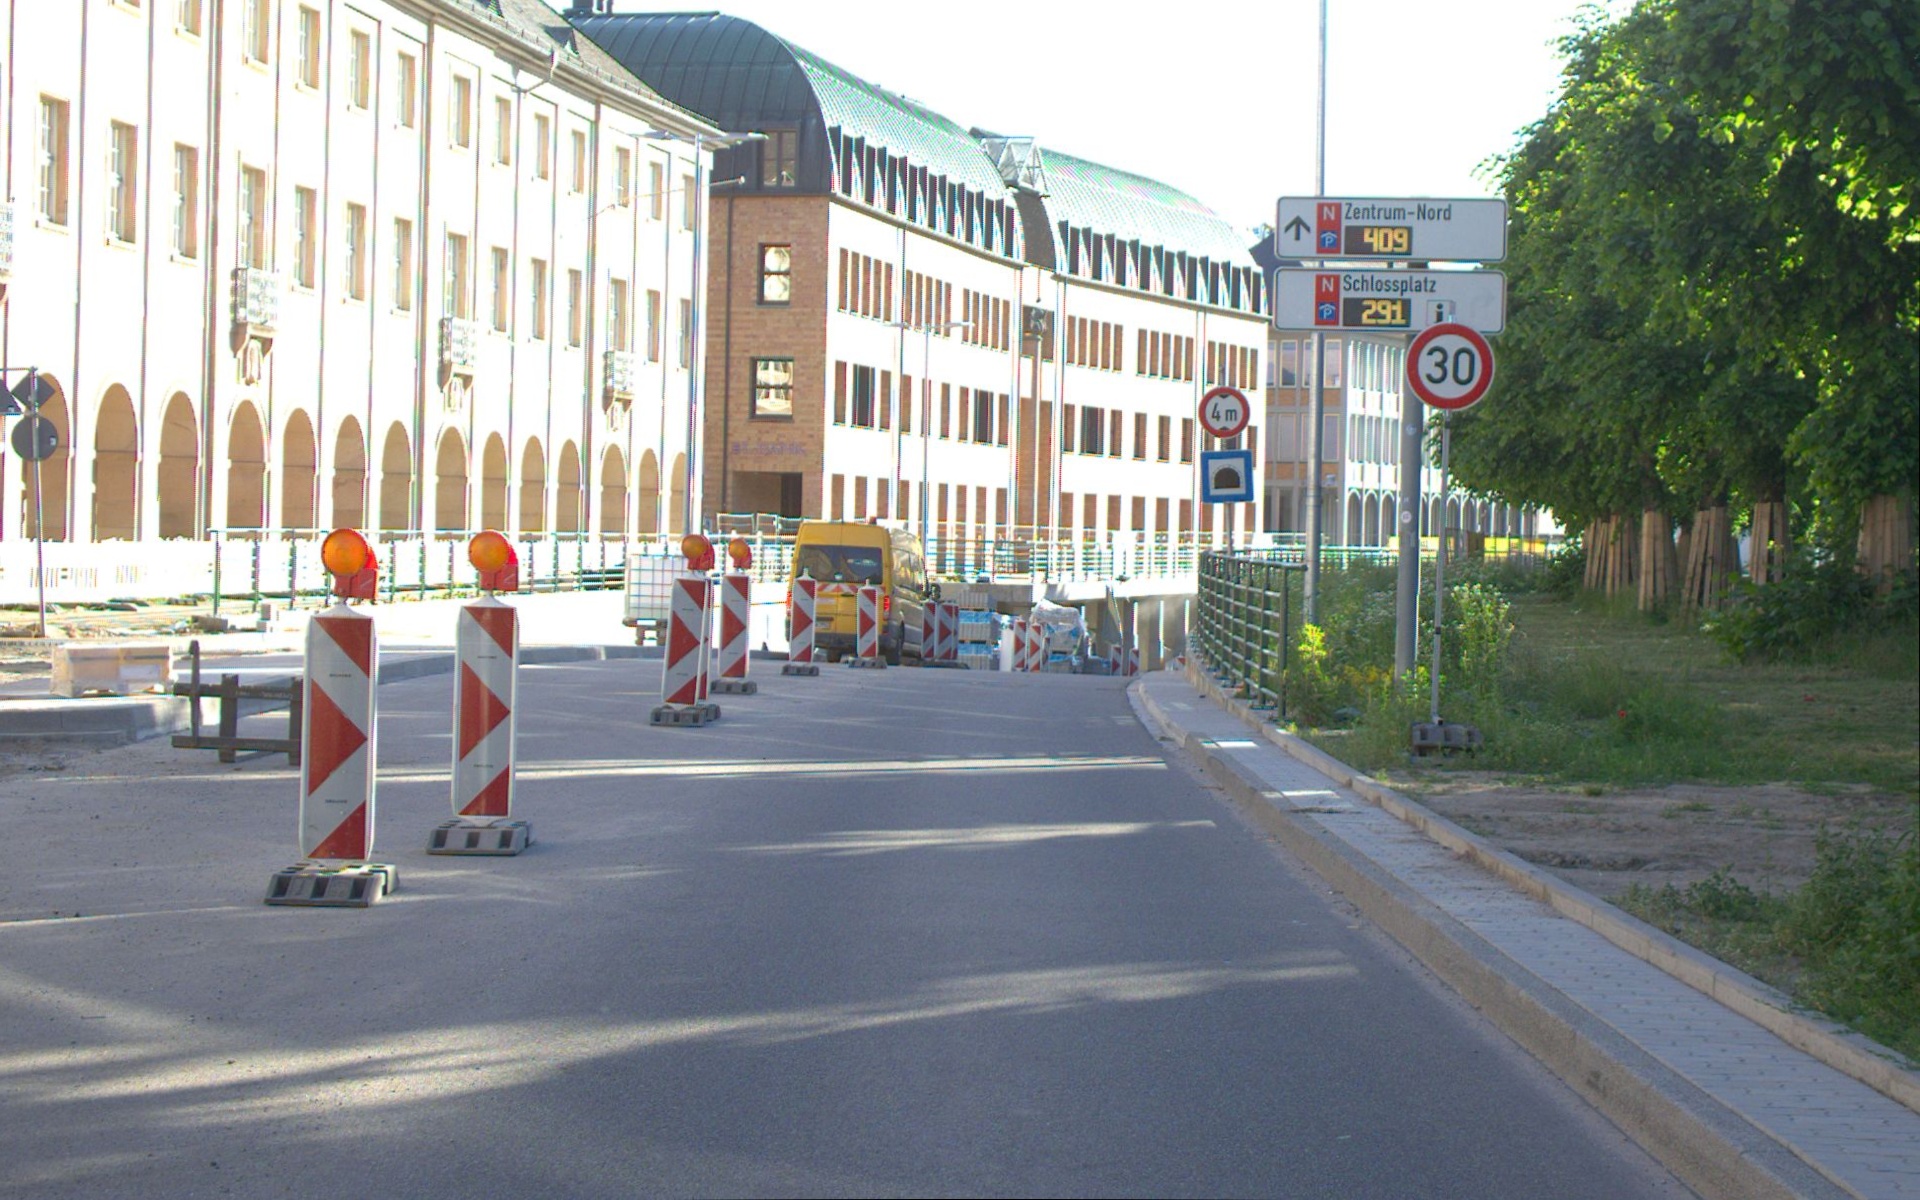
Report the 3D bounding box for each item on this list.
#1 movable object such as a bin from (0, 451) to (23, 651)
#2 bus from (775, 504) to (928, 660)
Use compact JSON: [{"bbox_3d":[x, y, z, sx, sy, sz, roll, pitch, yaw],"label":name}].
[{"bbox_3d":[-12.630,-0.571,38.784,2.546,2.340,4.459,1,1,5],"label":"movable object such as a bin"},{"bbox_3d":[-1.945,-0.277,63.108,2.073,2.677,4.682,2,-1,6],"label":"bus"}]
